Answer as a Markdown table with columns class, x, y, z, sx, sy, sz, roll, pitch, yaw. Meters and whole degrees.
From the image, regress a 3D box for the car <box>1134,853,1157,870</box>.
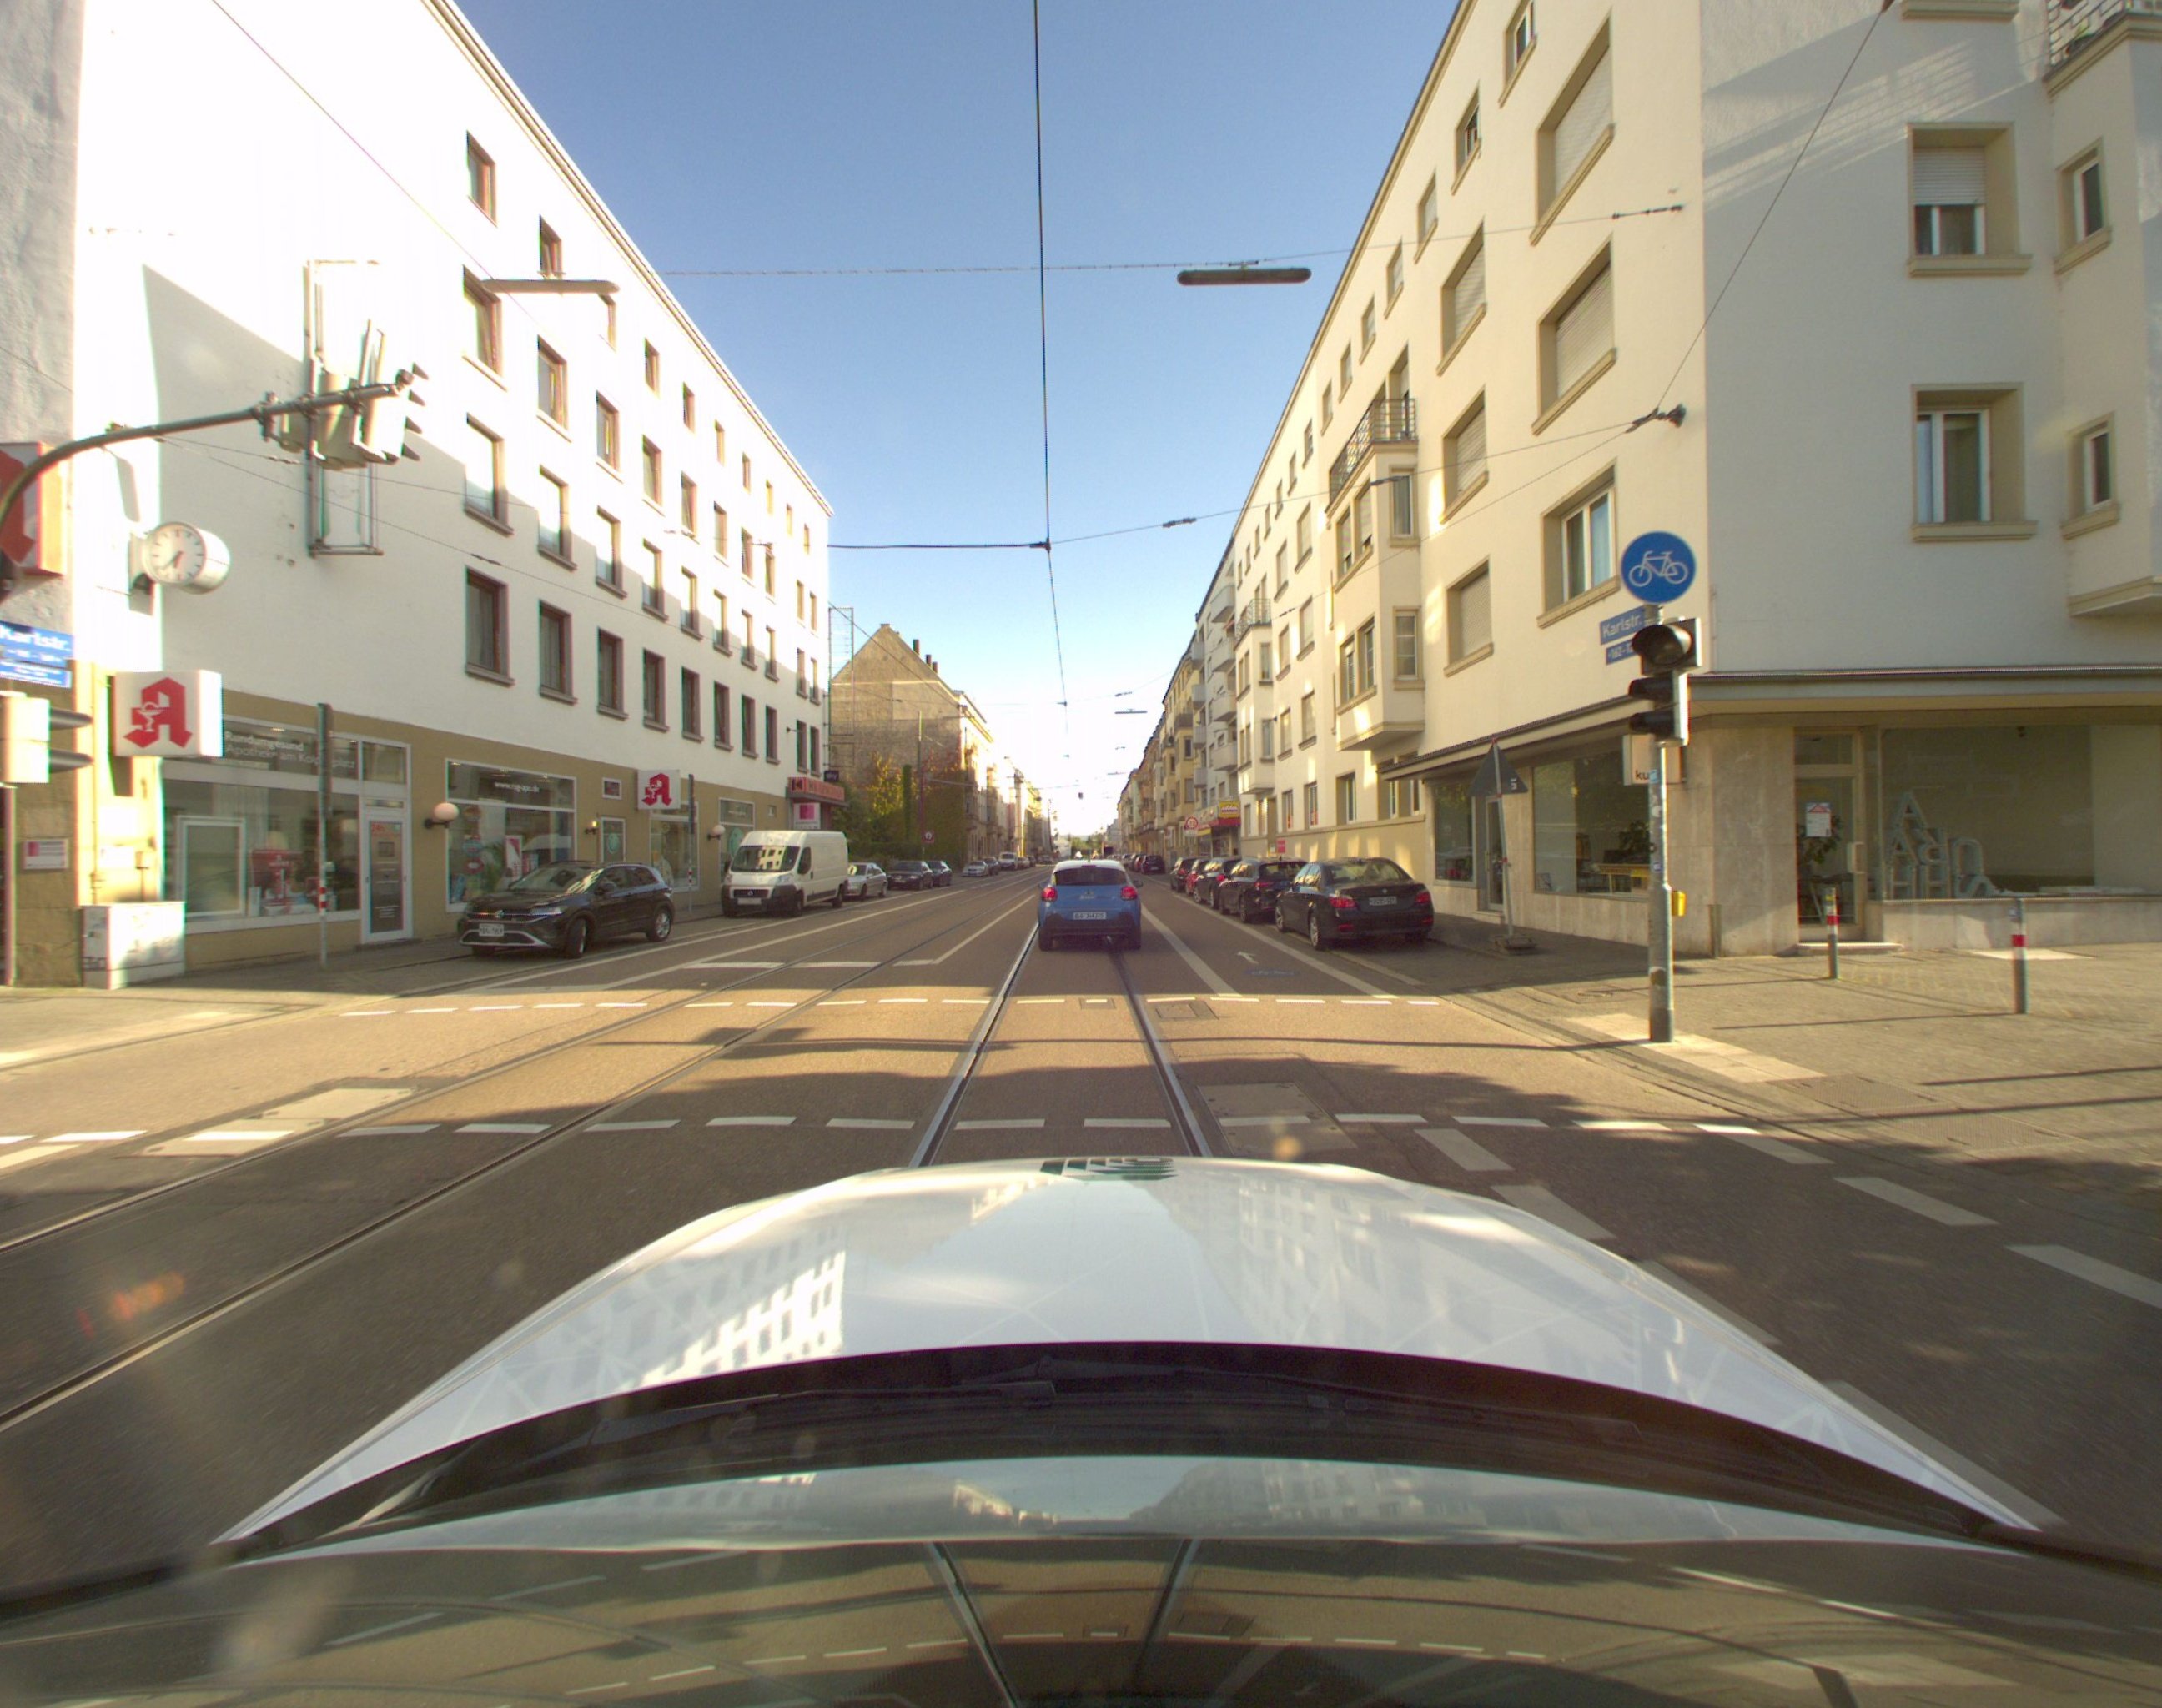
| class | x | y | z | sx | sy | sz | roll | pitch | yaw |
| --- | --- | --- | --- | --- | --- | --- | --- | --- | --- |
| car | 5.661 | 0.671 | 72.004 | 1.852 | 1.455 | 4.712 | -1 | 0 | 2 |

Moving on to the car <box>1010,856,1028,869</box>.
| class | x | y | z | sx | sy | sz | roll | pitch | yaw |
| --- | --- | --- | --- | --- | --- | --- | --- | --- | --- |
| car | -7.534 | 0.999 | 98.818 | 1.777 | 1.523 | 4.359 | 1 | 0 | 0 |

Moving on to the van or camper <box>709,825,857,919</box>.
| class | x | y | z | sx | sy | sz | roll | pitch | yaw |
| --- | --- | --- | --- | --- | --- | --- | --- | --- | --- |
| van or camper | -8.770 | 0.481 | 24.757 | 2.164 | 2.467 | 6.231 | 1 | 0 | 0 |

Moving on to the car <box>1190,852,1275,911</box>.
| class | x | y | z | sx | sy | sz | roll | pitch | yaw |
| --- | --- | --- | --- | --- | --- | --- | --- | --- | --- |
| car | 4.470 | 0.760 | 24.562 | 1.850 | 1.507 | 4.097 | -4 | 0 | 2 |

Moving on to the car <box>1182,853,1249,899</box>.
| class | x | y | z | sx | sy | sz | roll | pitch | yaw |
| --- | --- | --- | --- | --- | --- | --- | --- | --- | --- |
| car | 4.825 | 0.755 | 29.768 | 1.850 | 1.473 | 3.990 | -4 | 0 | 2 |

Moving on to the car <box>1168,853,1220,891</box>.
| class | x | y | z | sx | sy | sz | roll | pitch | yaw |
| --- | --- | --- | --- | --- | --- | --- | --- | --- | --- |
| car | 4.791 | 0.727 | 35.086 | 1.704 | 1.407 | 4.360 | -4 | 0 | 2 |

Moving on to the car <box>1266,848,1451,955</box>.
| class | x | y | z | sx | sy | sz | roll | pitch | yaw |
| --- | --- | --- | --- | --- | --- | --- | --- | --- | --- |
| car | 4.735 | 0.724 | 14.709 | 1.742 | 1.507 | 4.921 | -4 | 0 | 2 |

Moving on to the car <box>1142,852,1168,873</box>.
| class | x | y | z | sx | sy | sz | roll | pitch | yaw |
| --- | --- | --- | --- | --- | --- | --- | --- | --- | --- |
| car | 5.699 | 0.667 | 63.354 | 1.712 | 1.491 | 4.002 | -2 | 0 | 1 |

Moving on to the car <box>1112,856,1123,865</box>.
| class | x | y | z | sx | sy | sz | roll | pitch | yaw |
| --- | --- | --- | --- | --- | --- | --- | --- | --- | --- |
| car | 6.712 | 1.143 | 150.025 | 1.777 | 1.632 | 4.001 | -1 | 0 | 1 |

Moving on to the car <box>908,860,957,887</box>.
| class | x | y | z | sx | sy | sz | roll | pitch | yaw |
| --- | --- | --- | --- | --- | --- | --- | --- | --- | --- |
| car | -8.404 | 1.081 | 46.468 | 1.777 | 1.446 | 4.842 | 1 | 0 | 1 |

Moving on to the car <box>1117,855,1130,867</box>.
| class | x | y | z | sx | sy | sz | roll | pitch | yaw |
| --- | --- | --- | --- | --- | --- | --- | --- | --- | --- |
| car | 6.015 | 1.002 | 116.129 | 1.746 | 1.594 | 3.731 | -1 | 0 | 2 |

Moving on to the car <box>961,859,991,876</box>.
| class | x | y | z | sx | sy | sz | roll | pitch | yaw |
| --- | --- | --- | --- | --- | --- | --- | --- | --- | --- |
| car | -8.389 | 1.079 | 65.324 | 1.777 | 1.314 | 4.221 | 1 | 0 | 1 |

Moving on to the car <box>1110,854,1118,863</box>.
| class | x | y | z | sx | sy | sz | roll | pitch | yaw |
| --- | --- | --- | --- | --- | --- | --- | --- | --- | --- |
| car | 7.192 | 0.943 | 179.115 | 1.724 | 1.827 | 4.687 | -1 | 0 | 1 |

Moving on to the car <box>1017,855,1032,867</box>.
| class | x | y | z | sx | sy | sz | roll | pitch | yaw |
| --- | --- | --- | --- | --- | --- | --- | --- | --- | --- |
| car | -7.525 | 0.950 | 109.531 | 1.778 | 1.622 | 4.177 | 1 | 0 | -1 |

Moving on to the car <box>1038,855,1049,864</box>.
| class | x | y | z | sx | sy | sz | roll | pitch | yaw |
| --- | --- | --- | --- | --- | --- | --- | --- | --- | --- |
| car | -6.884 | 1.006 | 150.464 | 1.778 | 1.690 | 4.665 | 1 | 0 | -1 |

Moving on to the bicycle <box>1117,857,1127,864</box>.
| class | x | y | z | sx | sy | sz | roll | pitch | yaw |
| --- | --- | --- | --- | --- | --- | --- | --- | --- | --- |
| bicycle | 7.376 | 1.156 | 146.927 | 1.716 | 1.154 | 0.469 | -5 | 0 | 1 |

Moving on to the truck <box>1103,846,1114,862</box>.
| class | x | y | z | sx | sy | sz | roll | pitch | yaw |
| --- | --- | --- | --- | --- | --- | --- | --- | --- | --- |
| truck | 7.573 | 0.001 | 220.951 | 2.842 | 4.083 | 11.276 | -1 | 0 | 2 |

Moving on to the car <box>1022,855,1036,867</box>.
| class | x | y | z | sx | sy | sz | roll | pitch | yaw |
| --- | --- | --- | --- | --- | --- | --- | --- | --- | --- |
| car | -7.317 | 0.968 | 115.303 | 1.777 | 1.553 | 3.019 | 1 | 0 | 1 |

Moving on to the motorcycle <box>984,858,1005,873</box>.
| class | x | y | z | sx | sy | sz | roll | pitch | yaw |
| --- | --- | --- | --- | --- | --- | --- | --- | --- | --- |
| motorcycle | -8.220 | 1.063 | 77.405 | 0.875 | 1.351 | 1.970 | -1 | 0 | 33 |

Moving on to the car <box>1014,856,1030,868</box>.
| class | x | y | z | sx | sy | sz | roll | pitch | yaw |
| --- | --- | --- | --- | --- | --- | --- | --- | --- | --- |
| car | -7.567 | 1.002 | 104.290 | 1.767 | 1.547 | 4.363 | 1 | 0 | -1 |

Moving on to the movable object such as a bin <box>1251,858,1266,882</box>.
| class | x | y | z | sx | sy | sz | roll | pitch | yaw |
| --- | --- | --- | --- | --- | --- | --- | --- | --- | --- |
| movable object such as a bin | 7.927 | 0.701 | 36.404 | 0.556 | 1.057 | 0.554 | -1 | 0 | -1 |

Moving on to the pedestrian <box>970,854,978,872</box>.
| class | x | y | z | sx | sy | sz | roll | pitch | yaw |
| --- | --- | --- | --- | --- | --- | --- | --- | --- | --- |
| pedestrian | -10.325 | 0.868 | 78.846 | 0.677 | 1.724 | 0.616 | 0 | 0 | 1 |

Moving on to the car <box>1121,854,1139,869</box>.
| class | x | y | z | sx | sy | sz | roll | pitch | yaw |
| --- | --- | --- | --- | --- | --- | --- | --- | --- | --- |
| car | 5.696 | 0.902 | 94.842 | 1.836 | 1.691 | 4.505 | -1 | 0 | 1 |

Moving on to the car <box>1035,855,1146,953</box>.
| class | x | y | z | sx | sy | sz | roll | pitch | yaw |
| --- | --- | --- | --- | --- | --- | --- | --- | --- | --- |
| car | 0.195 | 0.792 | 14.780 | 1.729 | 1.507 | 3.993 | 1 | 0 | 1 |

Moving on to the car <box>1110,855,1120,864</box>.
| class | x | y | z | sx | sy | sz | roll | pitch | yaw |
| --- | --- | --- | --- | --- | --- | --- | --- | --- | --- |
| car | 6.555 | 1.084 | 155.753 | 1.777 | 1.576 | 4.327 | -1 | 0 | 1 |

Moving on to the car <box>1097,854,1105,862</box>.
| class | x | y | z | sx | sy | sz | roll | pitch | yaw |
| --- | --- | --- | --- | --- | --- | --- | --- | --- | --- |
| car | 4.561 | 0.978 | 186.957 | 1.814 | 1.894 | 4.000 | 0 | 0 | 1 |

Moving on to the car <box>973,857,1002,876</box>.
| class | x | y | z | sx | sy | sz | roll | pitch | yaw |
| --- | --- | --- | --- | --- | --- | --- | --- | --- | --- |
| car | -8.065 | 1.043 | 70.747 | 1.776 | 1.565 | 4.613 | 1 | 0 | 3 |

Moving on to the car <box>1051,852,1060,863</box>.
| class | x | y | z | sx | sy | sz | roll | pitch | yaw |
| --- | --- | --- | --- | --- | --- | --- | --- | --- | --- |
| car | -5.776 | 0.765 | 185.286 | 2.138 | 2.475 | 4.977 | 1 | 0 | -1 |

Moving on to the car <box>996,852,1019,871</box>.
| class | x | y | z | sx | sy | sz | roll | pitch | yaw |
| --- | --- | --- | --- | --- | --- | --- | --- | --- | --- |
| car | -7.983 | 0.777 | 89.057 | 1.967 | 1.949 | 5.251 | 1 | 0 | 0 |

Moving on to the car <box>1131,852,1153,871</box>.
| class | x | y | z | sx | sy | sz | roll | pitch | yaw |
| --- | --- | --- | --- | --- | --- | --- | --- | --- | --- |
| car | 5.835 | 0.711 | 78.393 | 1.852 | 1.665 | 4.564 | -1 | 0 | 2 |

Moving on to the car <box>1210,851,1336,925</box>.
| class | x | y | z | sx | sy | sz | roll | pitch | yaw |
| --- | --- | --- | --- | --- | --- | --- | --- | --- | --- |
| car | 4.552 | 0.758 | 20.034 | 1.852 | 1.507 | 4.503 | -4 | 0 | -2 |

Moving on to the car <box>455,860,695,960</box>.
| class | x | y | z | sx | sy | sz | roll | pitch | yaw |
| --- | --- | --- | --- | --- | --- | --- | --- | --- | --- |
| car | -9.022 | 0.913 | 14.995 | 1.776 | 1.552 | 3.994 | 1 | 0 | 2 |

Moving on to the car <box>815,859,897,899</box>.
| class | x | y | z | sx | sy | sz | roll | pitch | yaw |
| --- | --- | --- | --- | --- | --- | --- | --- | --- | --- |
| car | -8.687 | 0.928 | 31.823 | 1.776 | 1.398 | 4.447 | 1 | 0 | 2 |

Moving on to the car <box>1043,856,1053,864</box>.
| class | x | y | z | sx | sy | sz | roll | pitch | yaw |
| --- | --- | --- | --- | --- | --- | --- | --- | --- | --- |
| car | -6.480 | 1.215 | 161.426 | 1.778 | 1.627 | 4.606 | 1 | 0 | -1 |

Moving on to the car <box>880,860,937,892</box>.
| class | x | y | z | sx | sy | sz | roll | pitch | yaw |
| --- | --- | --- | --- | --- | --- | --- | --- | --- | --- |
| car | -8.430 | 1.040 | 40.218 | 1.777 | 1.481 | 4.699 | 1 | 0 | 0 |
